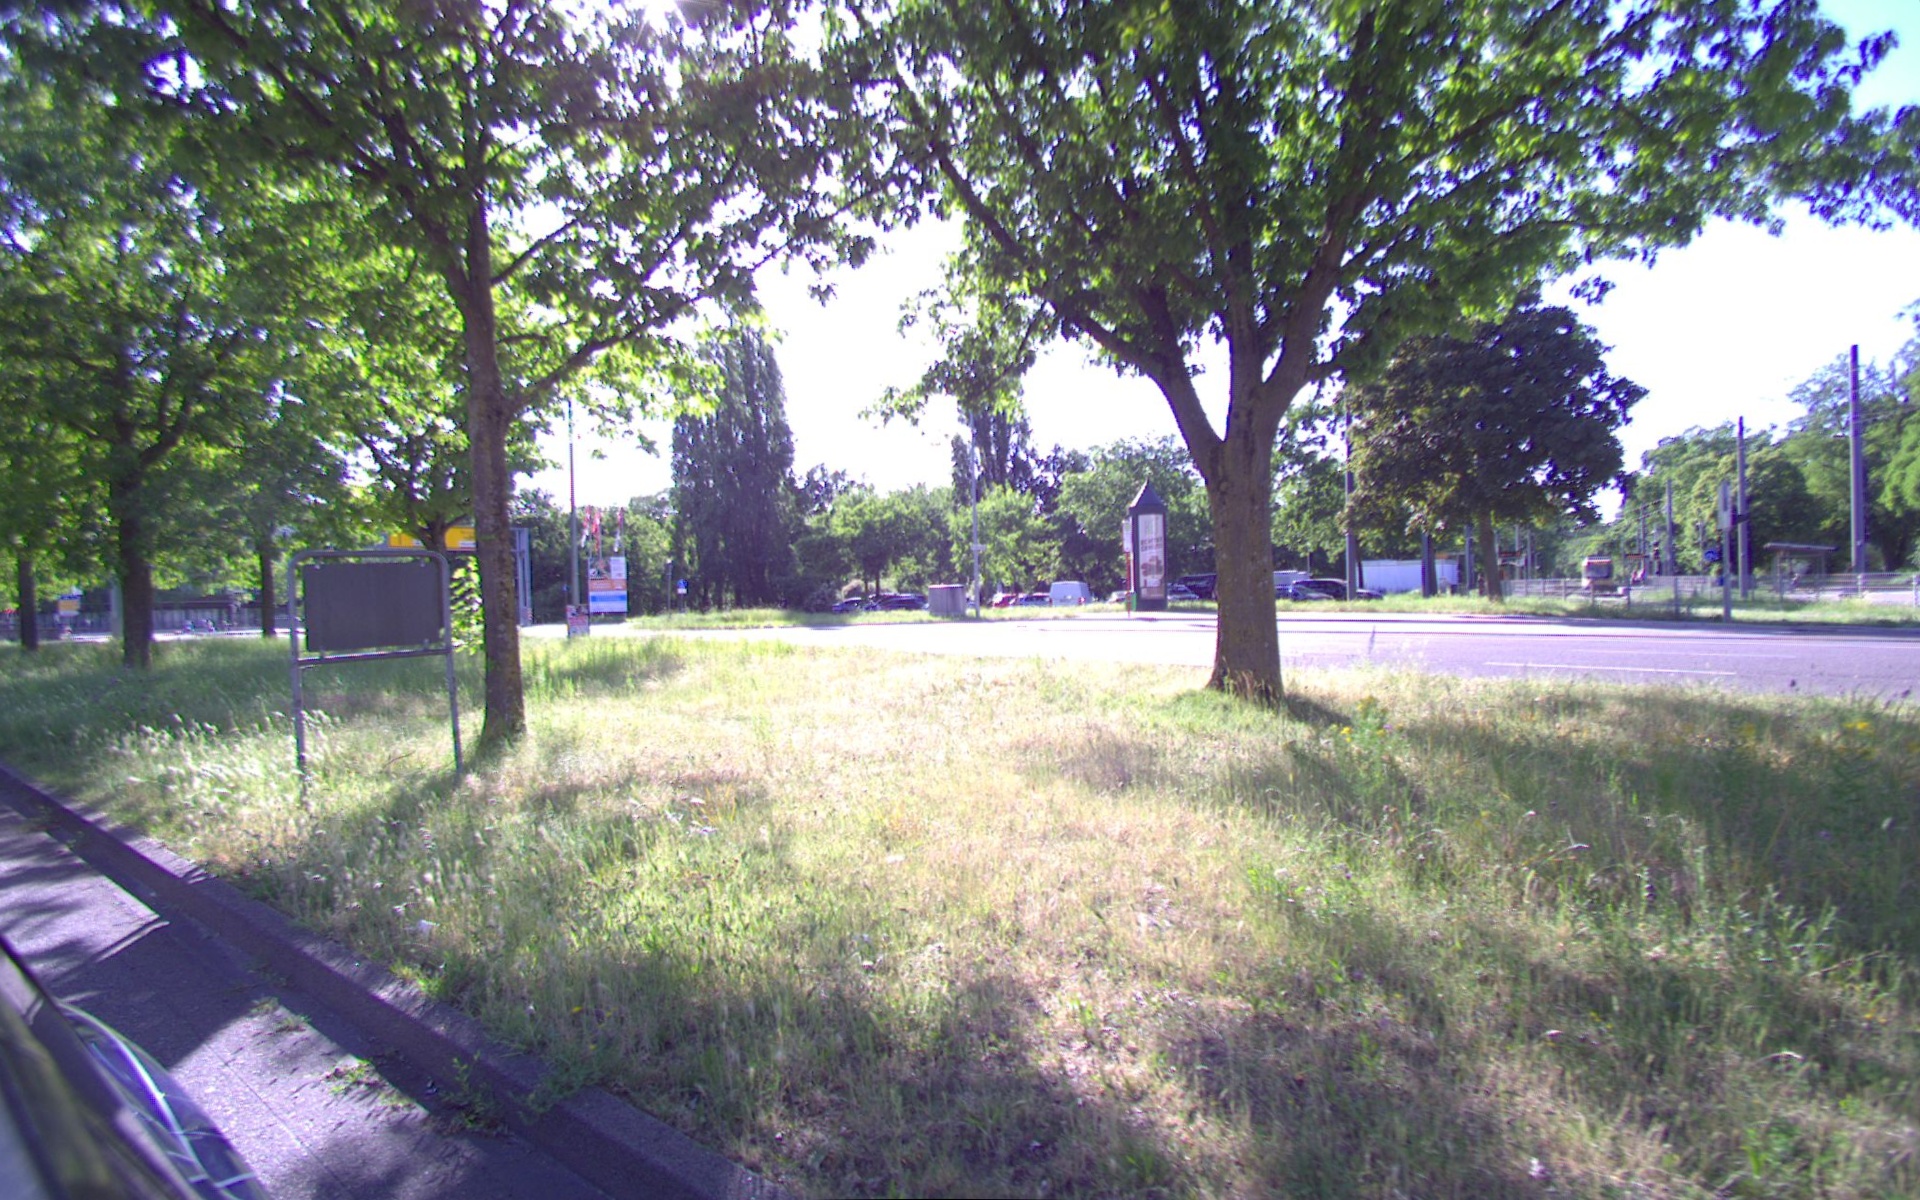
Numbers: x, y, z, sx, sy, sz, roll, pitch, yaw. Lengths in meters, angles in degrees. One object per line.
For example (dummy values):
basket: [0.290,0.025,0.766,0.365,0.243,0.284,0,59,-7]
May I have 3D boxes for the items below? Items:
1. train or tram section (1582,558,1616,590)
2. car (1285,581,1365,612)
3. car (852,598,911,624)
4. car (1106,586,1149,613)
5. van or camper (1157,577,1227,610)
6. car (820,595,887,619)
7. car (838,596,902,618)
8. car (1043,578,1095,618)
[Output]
train or tram section: [66.298,-2.705,104.858,2.463,2.962,19.618,-2,1,34]
car: [20.519,-0.194,56.841,3.981,1.579,1.981,-2,1,28]
car: [-4.743,0.680,60.690,1.791,1.459,4.011,-2,0,-32]
car: [8.970,-0.050,53.981,1.980,1.292,3.984,-2,1,13]
van or camper: [15.744,-0.447,68.769,1.967,2.112,4.412,-2,0,-35]
car: [-7.777,0.510,74.082,4.505,1.475,1.995,-2,2,9]
car: [-6.859,0.554,77.606,4.505,1.475,1.995,-2,2,9]
car: [6.007,-0.113,55.253,2.217,2.029,4.979,-2,0,13]
